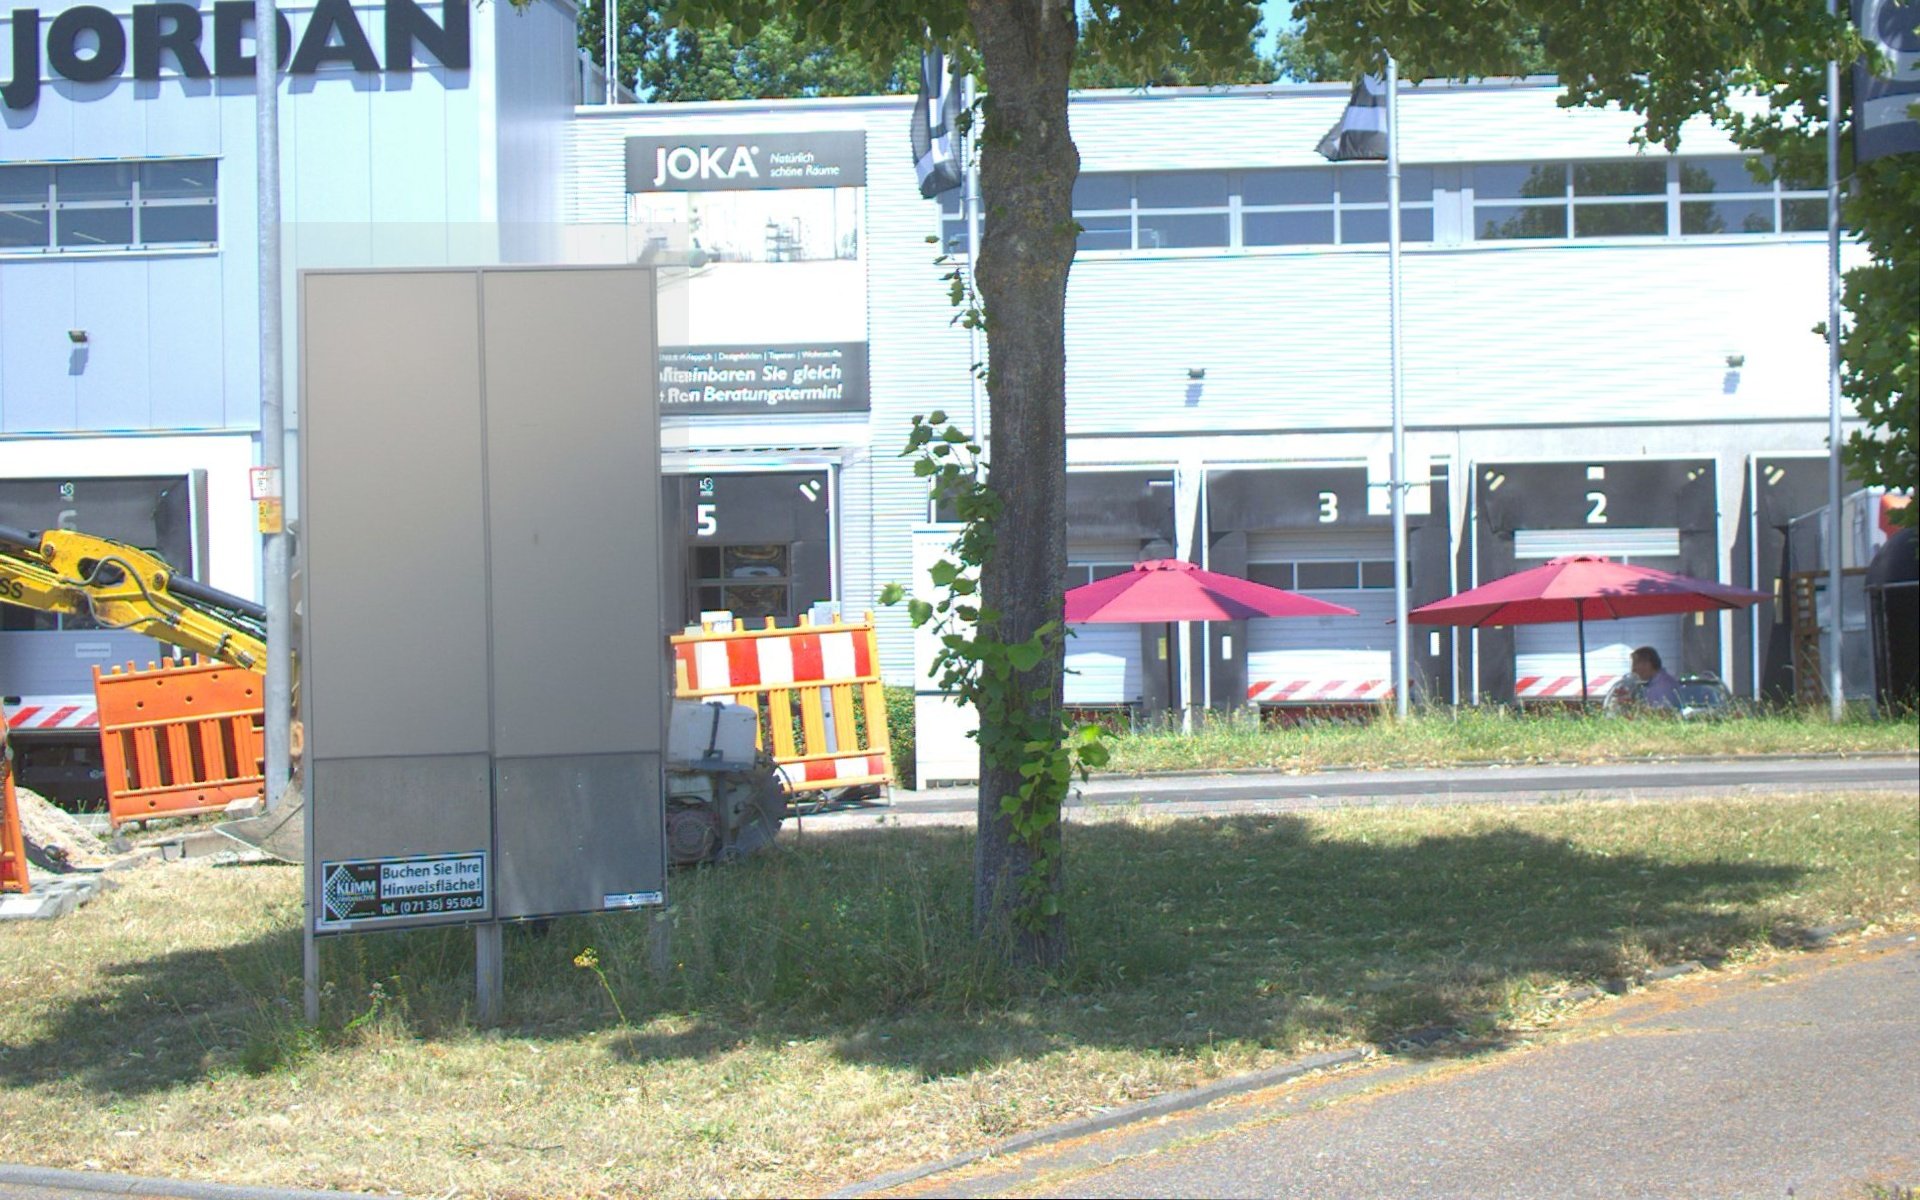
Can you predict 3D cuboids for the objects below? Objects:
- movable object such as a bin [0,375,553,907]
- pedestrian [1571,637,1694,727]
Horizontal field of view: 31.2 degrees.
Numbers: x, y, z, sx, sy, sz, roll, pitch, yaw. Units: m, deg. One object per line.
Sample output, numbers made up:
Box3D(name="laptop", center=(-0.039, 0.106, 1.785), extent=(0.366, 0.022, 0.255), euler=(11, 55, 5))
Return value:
Box3D(name="movable object such as a bin", center=(-5.763, 0.367, 18.934), extent=(6.559, 2.572, 1.999), euler=(-4, -1, 11))
Box3D(name="pedestrian", center=(5.441, 0.665, 27.807), extent=(0.865, 0.693, 0.407), euler=(-3, -1, 29))
